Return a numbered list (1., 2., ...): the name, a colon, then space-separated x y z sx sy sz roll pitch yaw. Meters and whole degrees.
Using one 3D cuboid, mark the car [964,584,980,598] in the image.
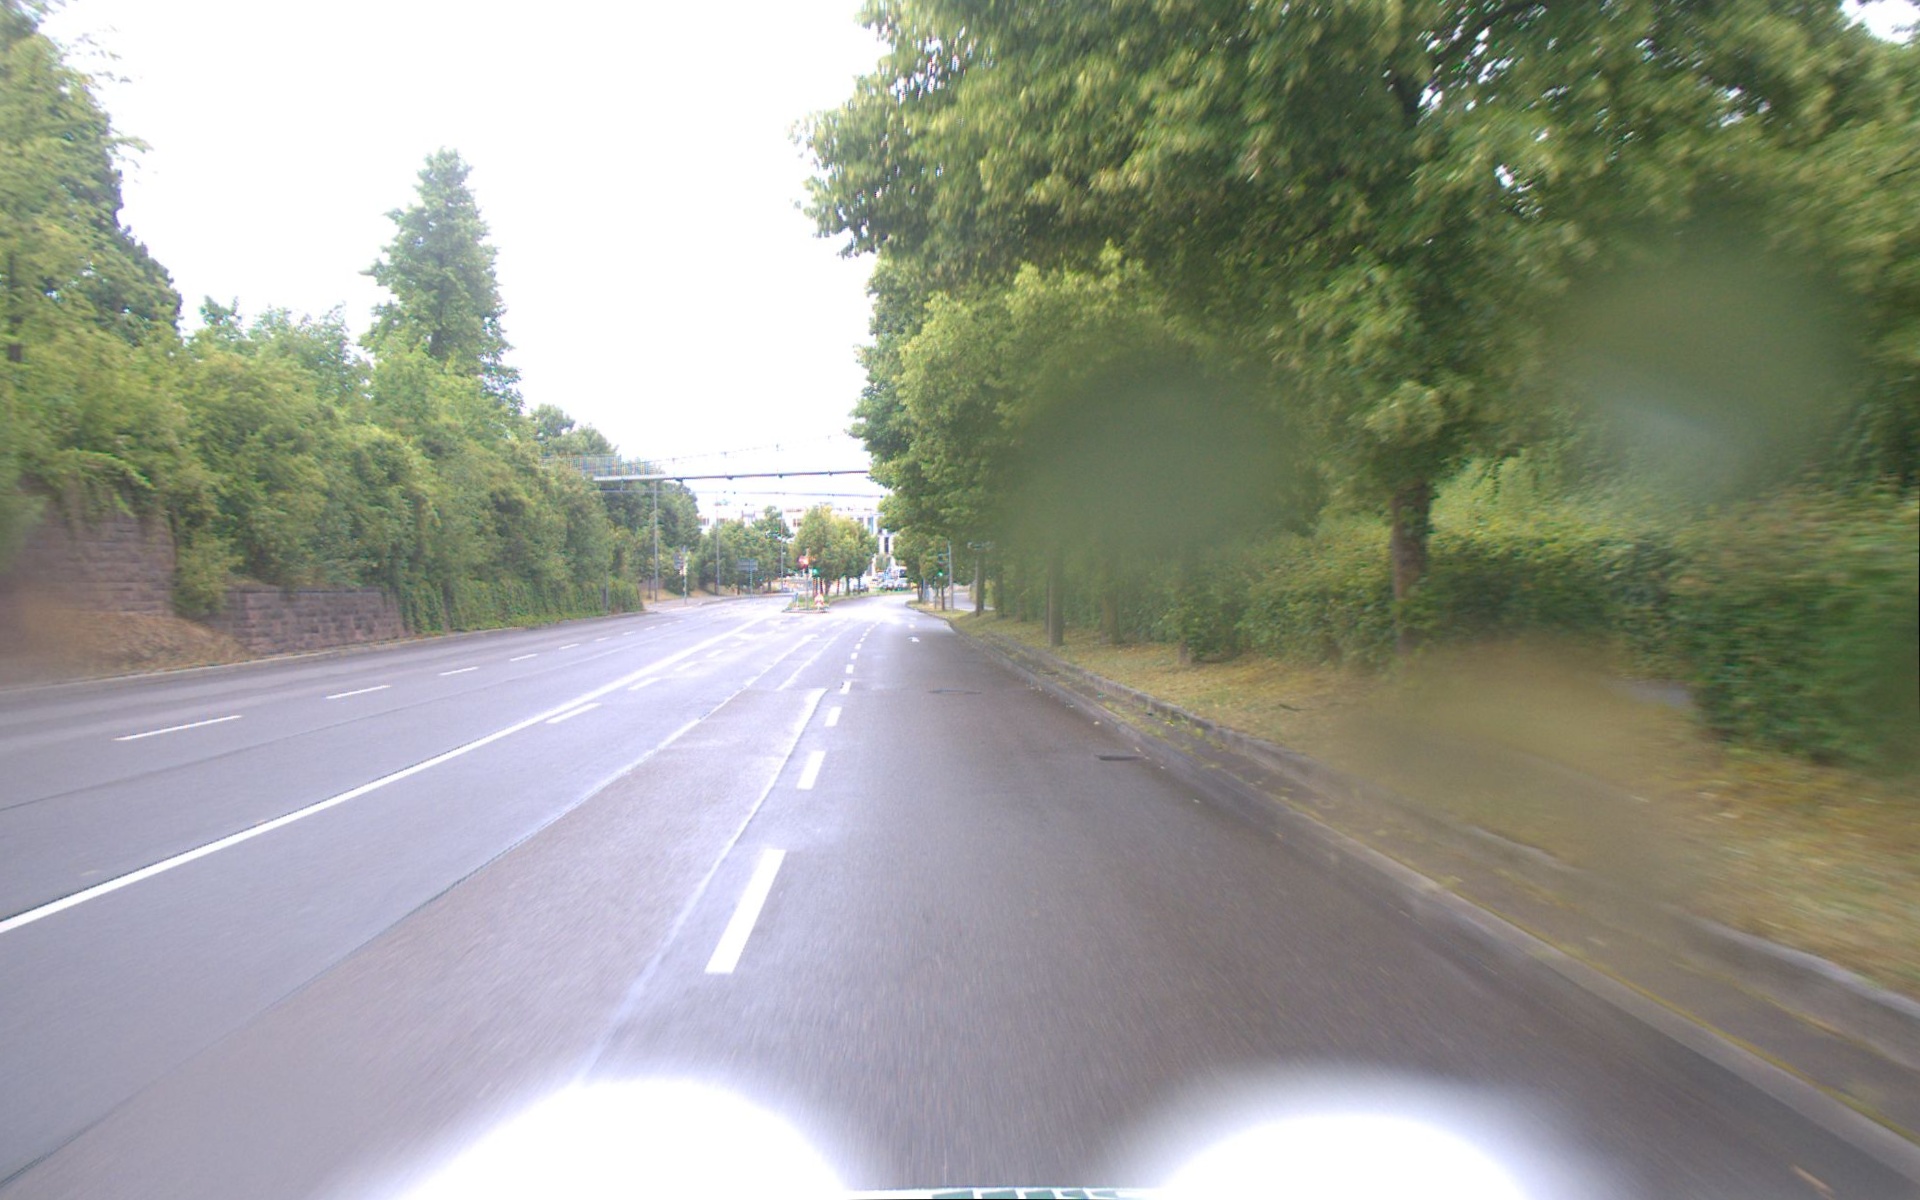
1. car: 1.662 -1.280 235.438 1.810 1.731 3.795 1 -1 7
